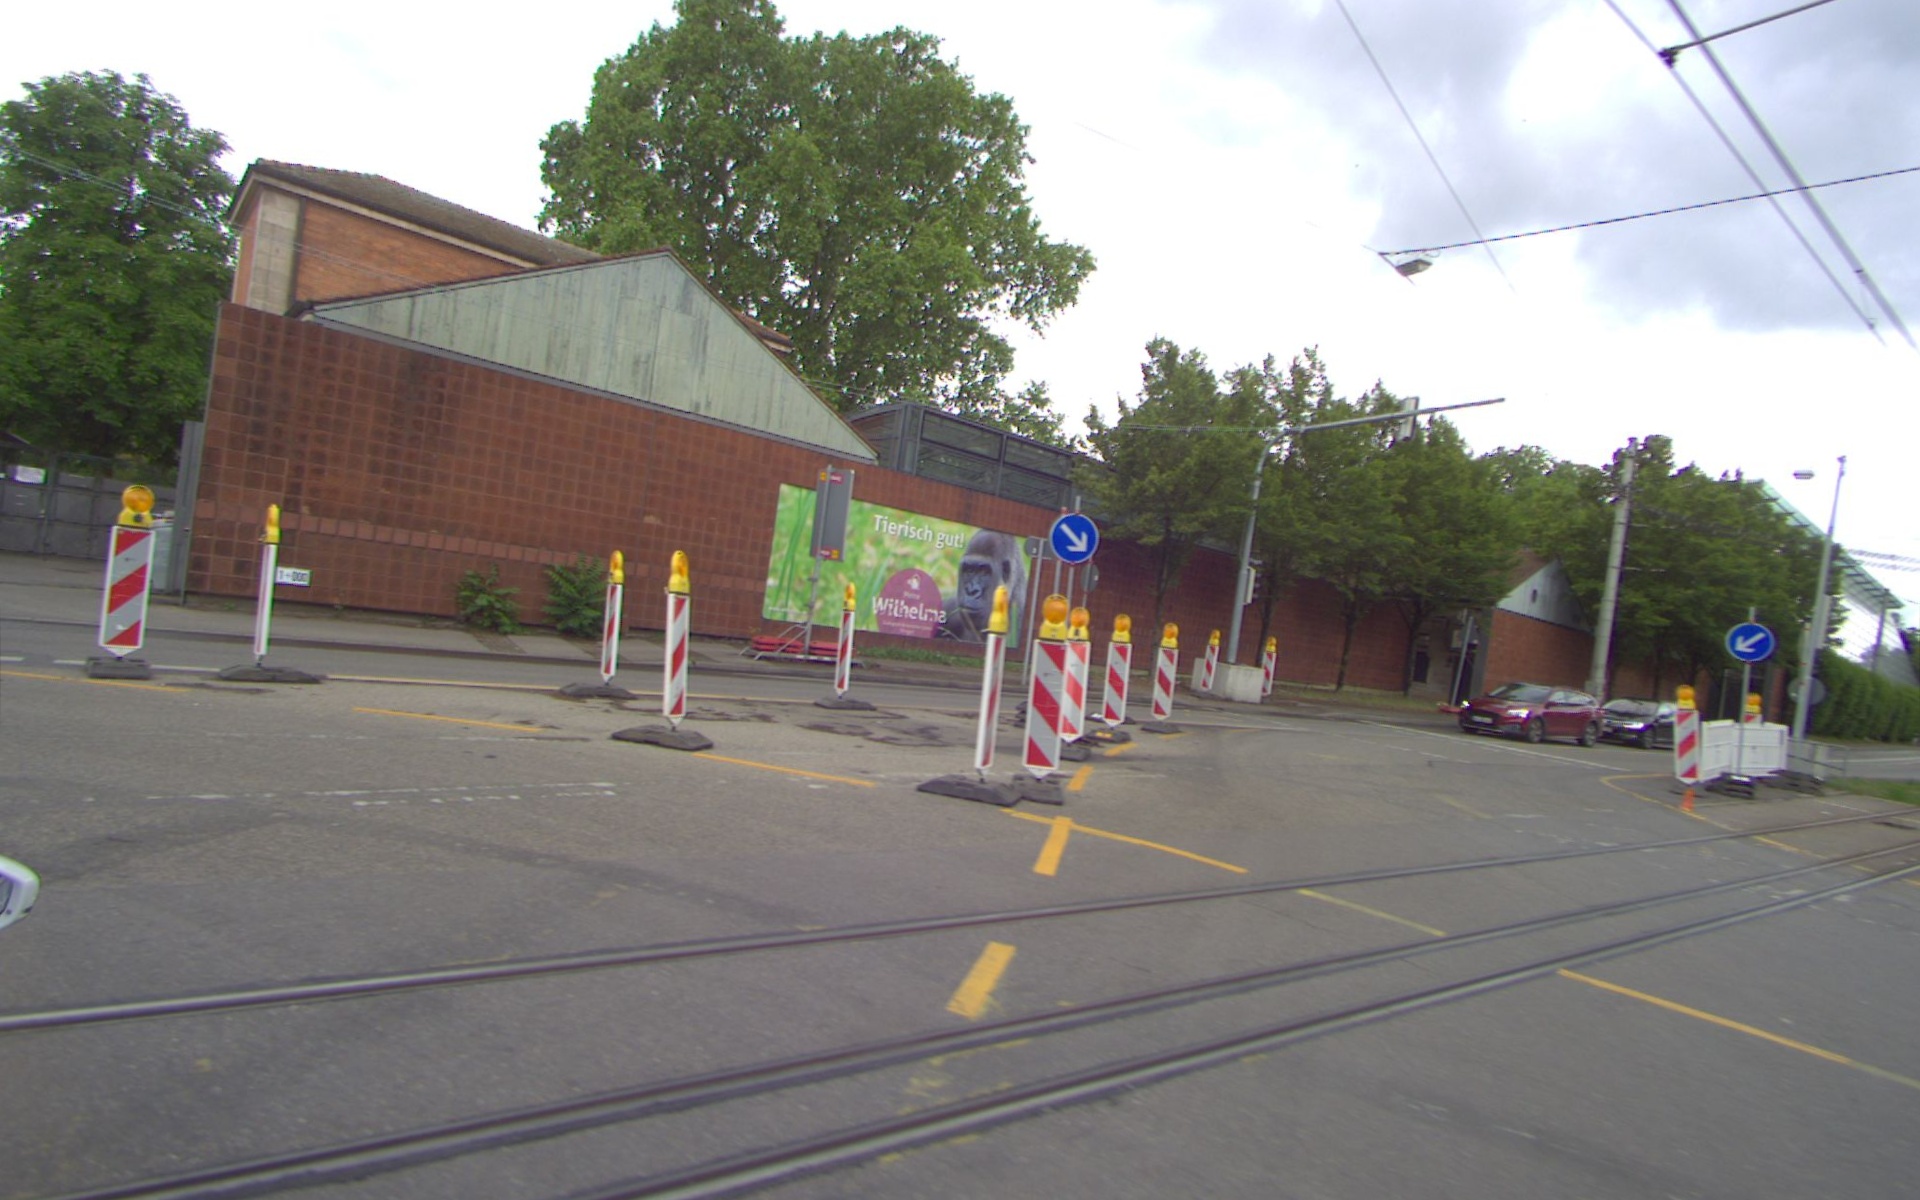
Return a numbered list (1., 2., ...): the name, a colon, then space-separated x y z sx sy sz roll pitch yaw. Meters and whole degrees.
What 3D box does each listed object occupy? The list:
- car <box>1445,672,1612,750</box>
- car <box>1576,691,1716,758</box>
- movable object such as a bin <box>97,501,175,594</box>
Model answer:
1. car: 14.788 2.902 26.095 4.417 1.460 1.864 9 -1 -33
2. car: 20.435 3.712 29.920 4.417 1.460 1.787 9 -1 -33
3. movable object such as a bin: -13.206 -0.837 16.148 0.844 1.357 0.792 6 1 -38
